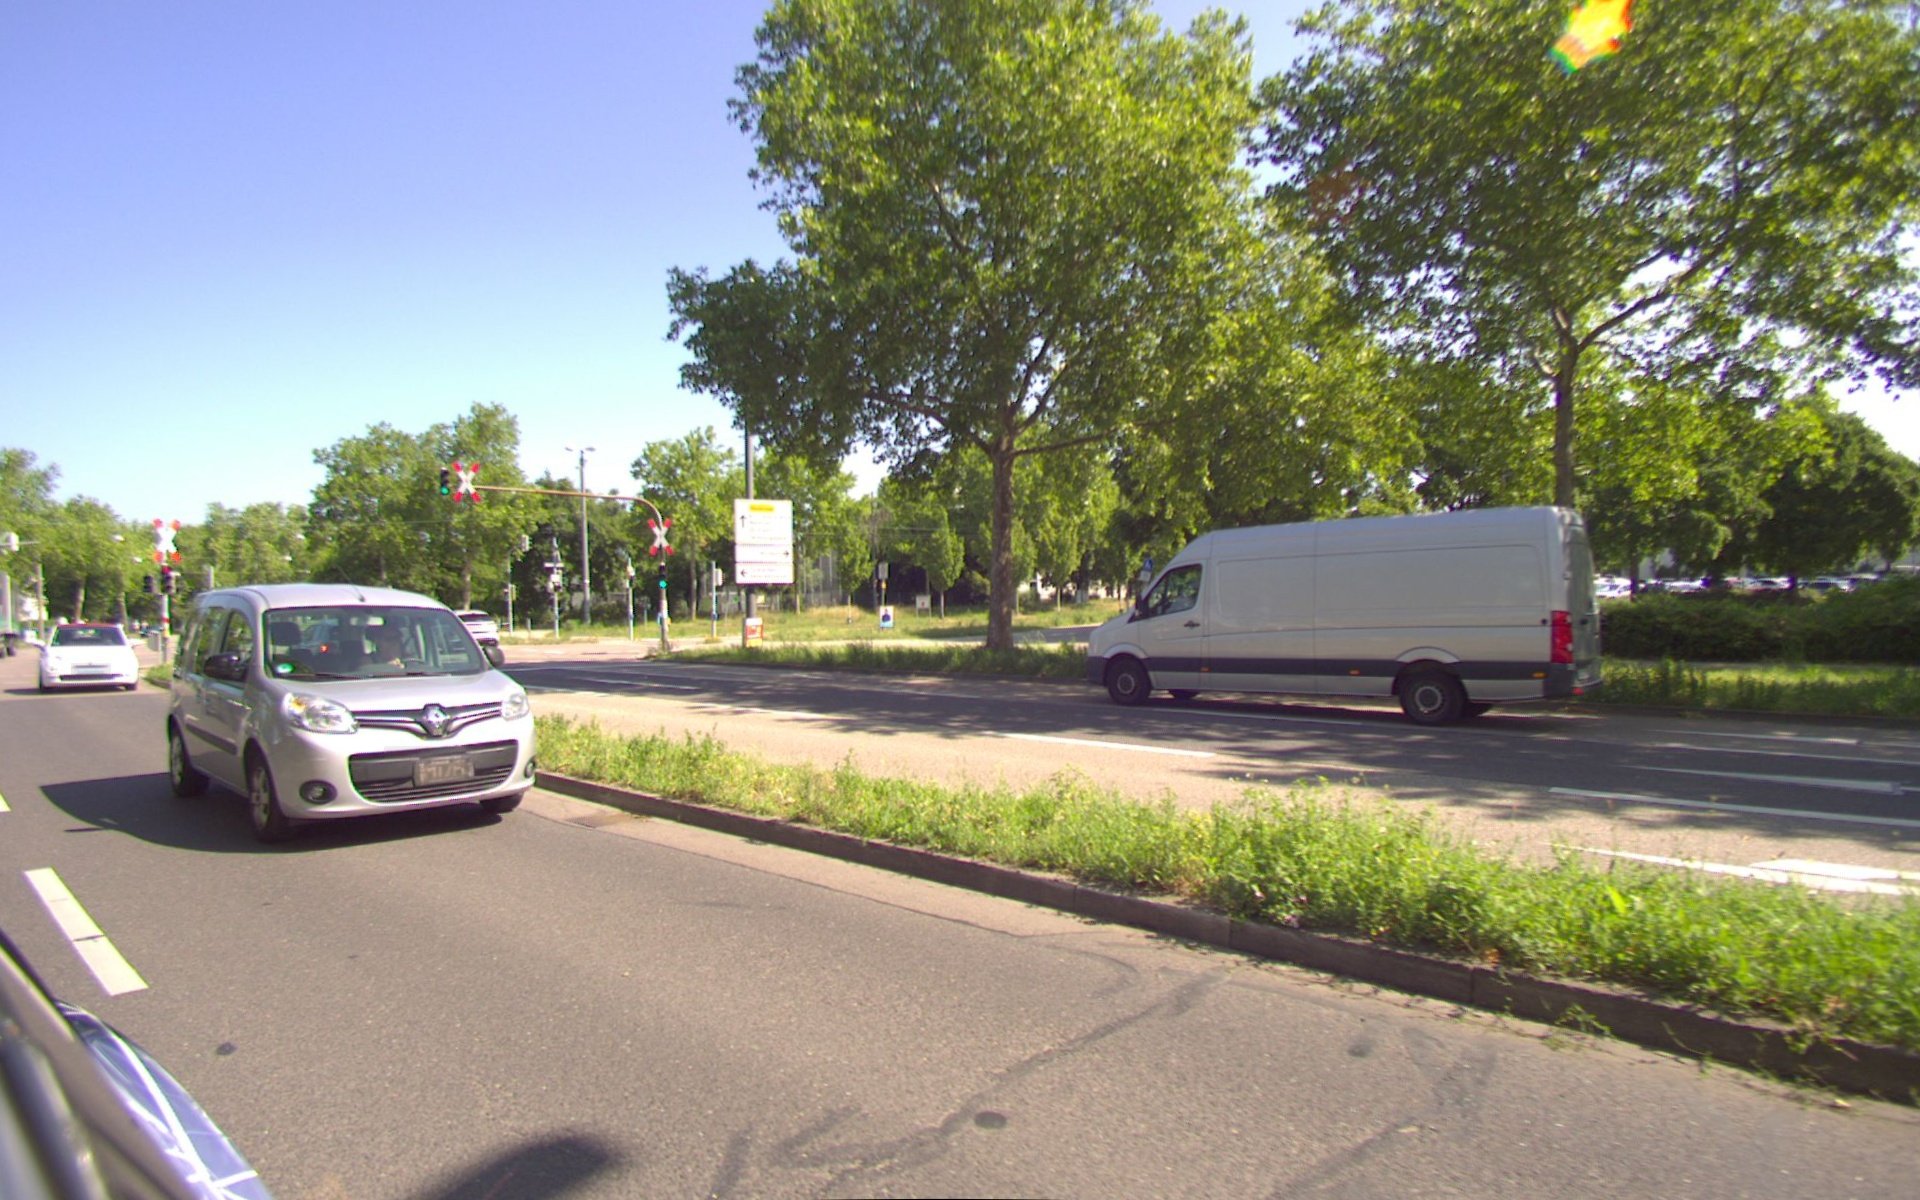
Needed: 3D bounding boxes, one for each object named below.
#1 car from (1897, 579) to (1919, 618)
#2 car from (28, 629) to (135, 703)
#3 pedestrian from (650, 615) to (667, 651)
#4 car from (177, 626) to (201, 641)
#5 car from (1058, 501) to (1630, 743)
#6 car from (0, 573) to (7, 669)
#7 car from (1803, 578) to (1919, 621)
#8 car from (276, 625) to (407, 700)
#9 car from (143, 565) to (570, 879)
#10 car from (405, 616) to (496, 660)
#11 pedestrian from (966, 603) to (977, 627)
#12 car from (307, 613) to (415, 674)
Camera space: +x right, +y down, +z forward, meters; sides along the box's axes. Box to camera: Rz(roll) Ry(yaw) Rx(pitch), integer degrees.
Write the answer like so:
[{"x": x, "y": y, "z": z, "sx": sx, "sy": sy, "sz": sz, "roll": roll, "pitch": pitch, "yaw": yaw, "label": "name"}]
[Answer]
[{"x": 51.392, "y": -0.098, "z": 52.256, "sx": 1.786, "sy": 2.029, "sz": 4.012, "roll": -1, "pitch": -1, "yaw": -17, "label": "car"}, {"x": -19.787, "y": 1.419, "z": 22.739, "sx": 1.665, "sy": 1.502, "sz": 4.380, "roll": 2, "pitch": -2, "yaw": -42, "label": "car"}, {"x": -13.305, "y": 1.461, "z": 44.712, "sx": 0.658, "sy": 1.573, "sz": 0.367, "roll": -1, "pitch": -1, "yaw": -9, "label": "pedestrian"}, {"x": -111.986, "y": 4.821, "z": 147.061, "sx": 1.965, "sy": 2.029, "sz": 4.013, "roll": -1, "pitch": -1, "yaw": -25, "label": "car"}, {"x": 4.900, "y": 0.328, "z": 14.165, "sx": 7.214, "sy": 2.633, "sz": 2.038, "roll": -2, "pitch": -2, "yaw": 42, "label": "car"}, {"x": -40.637, "y": 0.871, "z": 40.786, "sx": 2.859, "sy": 3.950, "sz": 7.153, "roll": 0, "pitch": -1, "yaw": -40, "label": "car"}, {"x": 45.223, "y": 0.007, "z": 50.857, "sx": 1.786, "sy": 2.029, "sz": 4.012, "roll": -1, "pitch": -1, "yaw": -17, "label": "car"}, {"x": -14.229, "y": 1.371, "z": 23.178, "sx": 1.674, "sy": 1.519, "sz": 4.132, "roll": -1, "pitch": -1, "yaw": -44, "label": "car"}, {"x": -5.053, "y": 0.783, "z": 8.188, "sx": 4.376, "sy": 1.854, "sz": 1.851, "roll": -2, "pitch": -2, "yaw": 44, "label": "car"}, {"x": -19.476, "y": 1.448, "z": 38.632, "sx": 4.433, "sy": 1.601, "sz": 1.690, "roll": -2, "pitch": -3, "yaw": 43, "label": "car"}, {"x": 1.024, "y": 1.365, "z": 91.681, "sx": 0.755, "sy": 2.106, "sz": 0.610, "roll": -2, "pitch": -1, "yaw": 45, "label": "pedestrian"}, {"x": -19.897, "y": 1.428, "z": 33.512, "sx": 4.993, "sy": 1.853, "sz": 1.667, "roll": -2, "pitch": -2, "yaw": 42, "label": "car"}]
